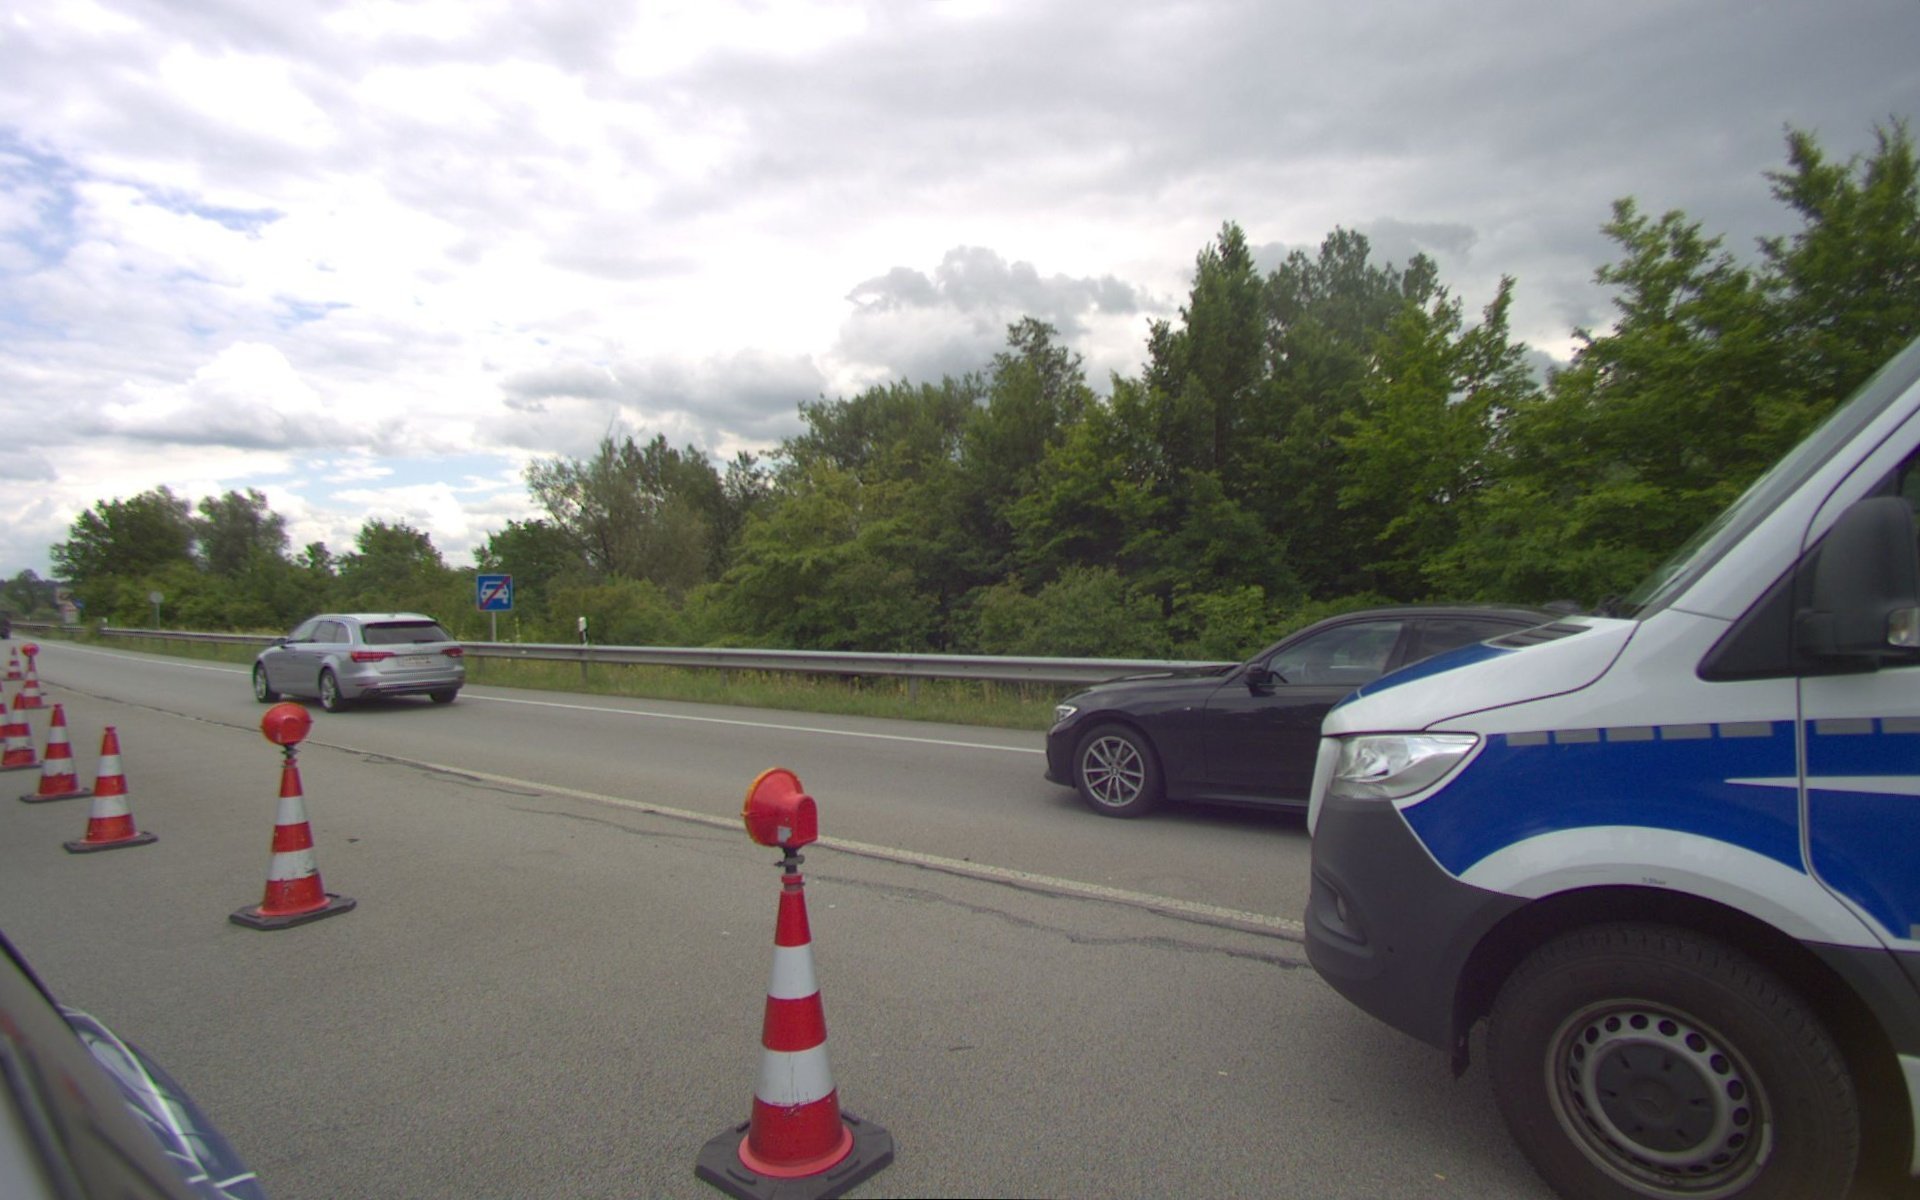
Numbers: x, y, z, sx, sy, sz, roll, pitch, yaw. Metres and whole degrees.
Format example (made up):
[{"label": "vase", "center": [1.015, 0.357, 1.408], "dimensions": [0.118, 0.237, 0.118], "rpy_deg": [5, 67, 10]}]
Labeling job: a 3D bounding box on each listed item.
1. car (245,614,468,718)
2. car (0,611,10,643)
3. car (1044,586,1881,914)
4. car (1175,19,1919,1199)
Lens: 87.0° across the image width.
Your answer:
[{"label": "car", "center": [-9.627, 0.951, 15.995], "dimensions": [4.370, 1.412, 1.662], "rpy_deg": [-1, -1, 40]}, {"label": "car", "center": [-63.231, 1.765, 65.664], "dimensions": [5.316, 2.002, 2.007], "rpy_deg": [-1, -1, 43]}, {"label": "car", "center": [2.824, 0.696, 6.466], "dimensions": [4.329, 1.447, 1.693], "rpy_deg": [-1, -1, 37]}, {"label": "car", "center": [3.298, 0.137, 1.986], "dimensions": [5.271, 2.482, 2.010], "rpy_deg": [-1, -1, 38]}]
